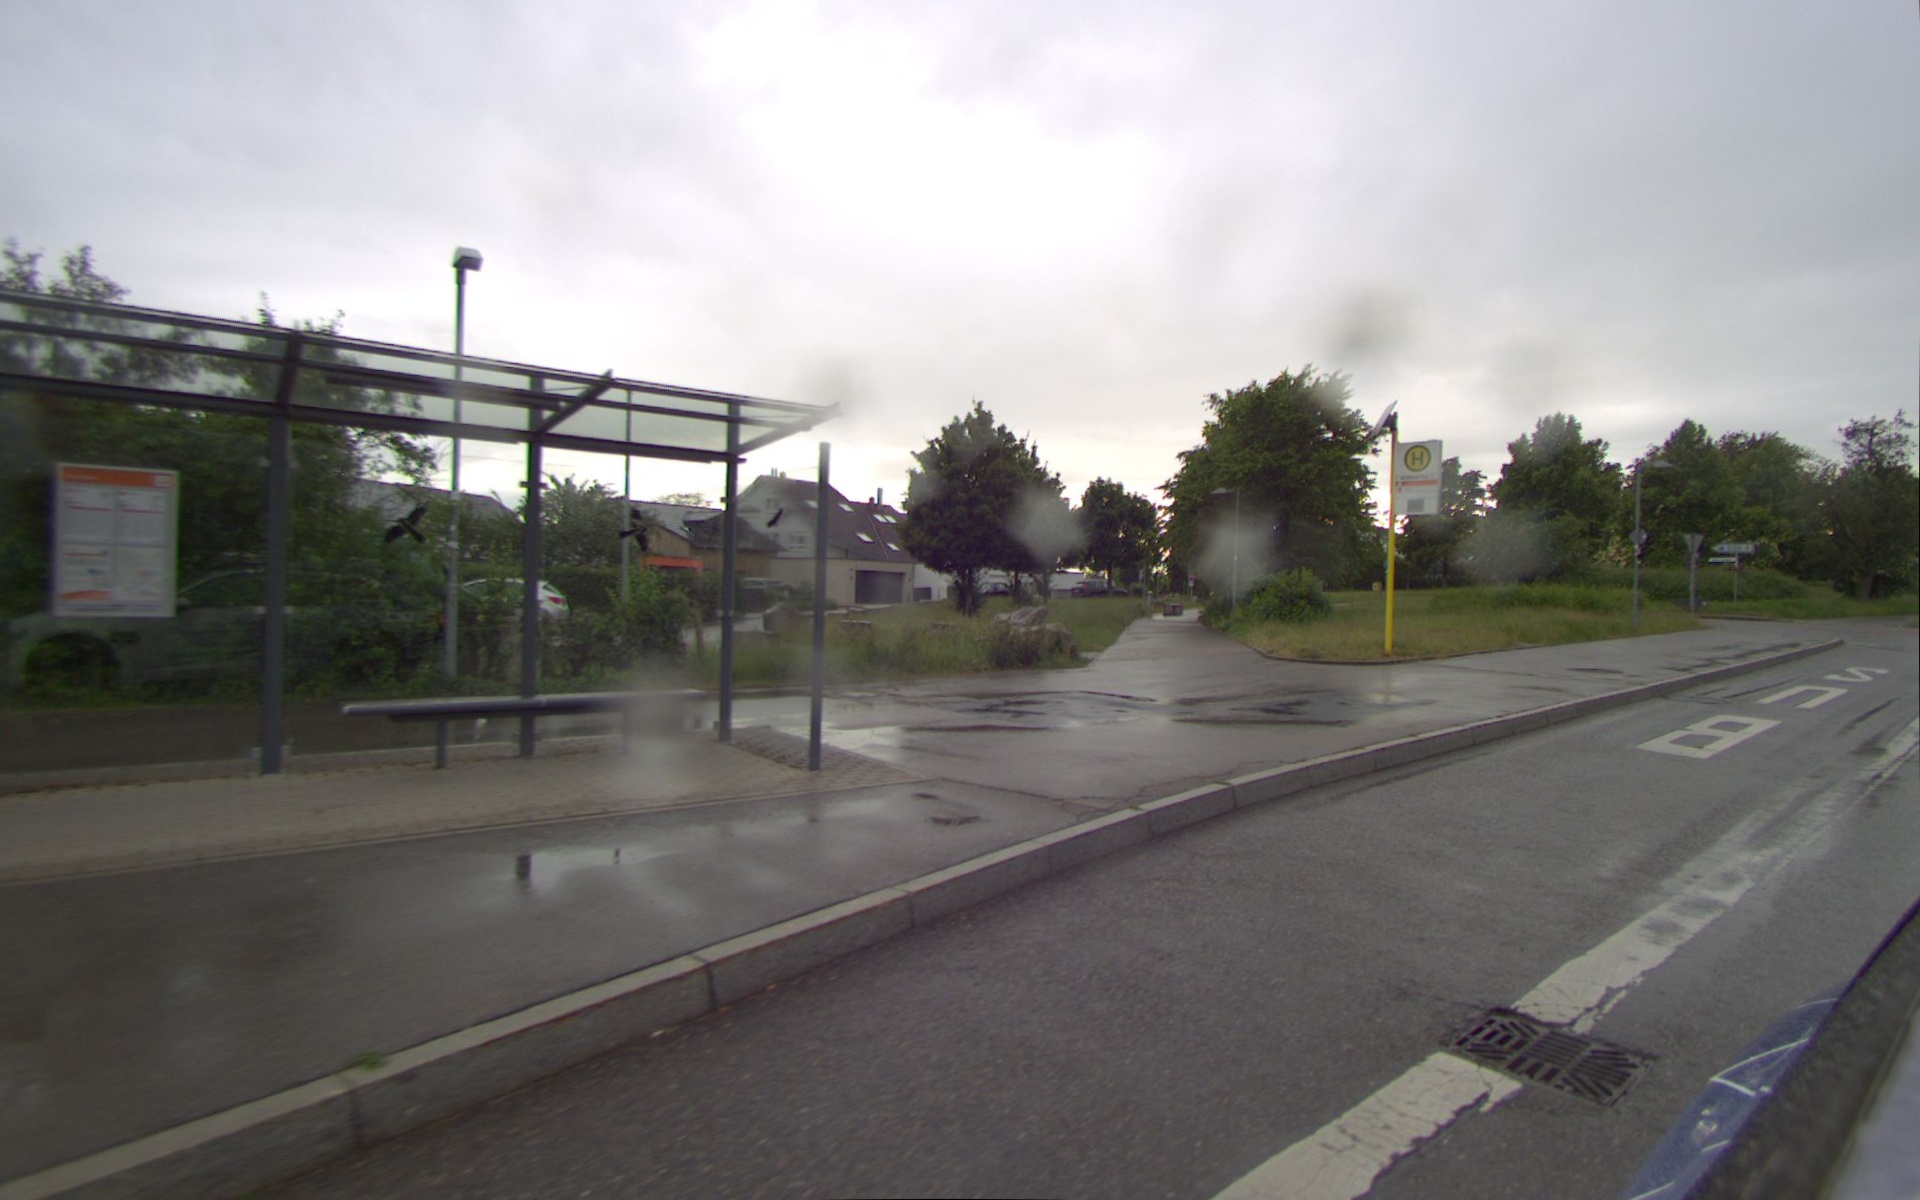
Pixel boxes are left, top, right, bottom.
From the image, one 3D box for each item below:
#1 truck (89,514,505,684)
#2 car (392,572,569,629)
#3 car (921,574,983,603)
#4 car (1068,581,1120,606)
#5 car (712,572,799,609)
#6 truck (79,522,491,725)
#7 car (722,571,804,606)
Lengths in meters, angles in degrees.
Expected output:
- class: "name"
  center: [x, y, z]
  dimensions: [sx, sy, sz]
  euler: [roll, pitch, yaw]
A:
- class: "truck"
  center: [-9.788, -0.069, 15.788]
  dimensions: [1.968, 2.135, 5.831]
  euler: [0, 1, 11]
- class: "car"
  center: [-12.860, -0.004, 27.423]
  dimensions: [4.118, 1.450, 1.765]
  euler: [0, 1, -17]
- class: "car"
  center: [-0.506, -0.781, 65.331]
  dimensions: [1.992, 1.771, 3.858]
  euler: [1, 2, 41]
- class: "car"
  center: [9.936, -0.527, 74.938]
  dimensions: [1.778, 1.707, 4.438]
  euler: [1, 3, 39]
- class: "car"
  center: [-10.552, -0.502, 52.217]
  dimensions: [3.939, 1.772, 1.972]
  euler: [2, 1, 13]
- class: "truck"
  center: [-9.953, 0.180, 15.722]
  dimensions: [1.968, 2.556, 5.622]
  euler: [0, 2, 10]
- class: "car"
  center: [-10.666, -0.614, 54.875]
  dimensions: [3.939, 1.772, 1.972]
  euler: [2, 1, 13]
